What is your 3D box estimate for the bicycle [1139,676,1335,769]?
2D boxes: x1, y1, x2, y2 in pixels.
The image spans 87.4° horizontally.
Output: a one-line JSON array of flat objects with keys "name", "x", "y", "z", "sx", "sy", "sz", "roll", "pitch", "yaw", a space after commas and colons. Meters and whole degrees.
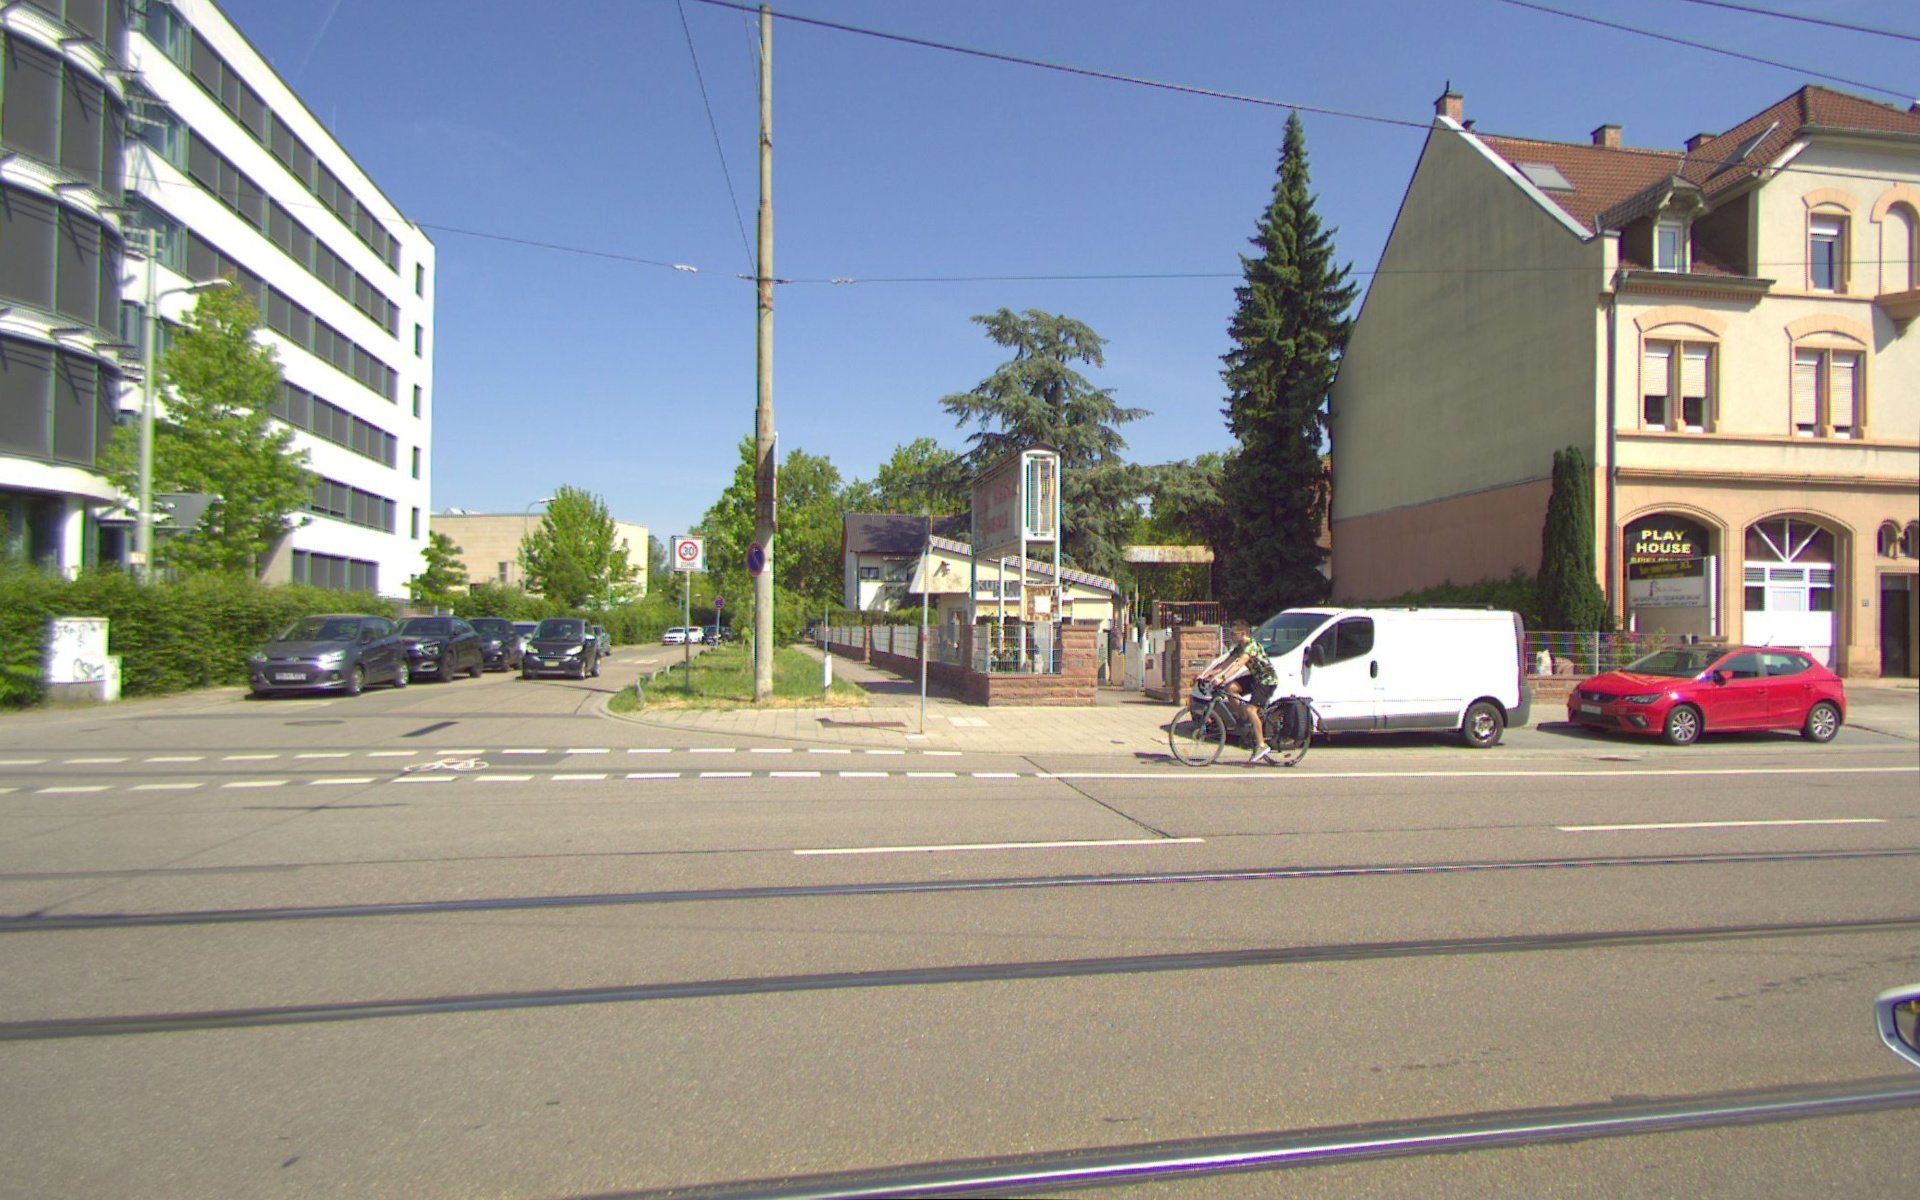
[{"name": "bicycle", "x": 3.208, "y": 1.415, "z": 11.717, "sx": 2.122, "sy": 0.997, "sz": 0.610, "roll": 1, "pitch": -1, "yaw": -3}]

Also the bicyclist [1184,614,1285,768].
[{"name": "bicyclist", "x": 3.201, "y": 1.045, "z": 11.780, "sx": 0.969, "sy": 1.747, "sz": 0.718, "roll": 0, "pitch": -2, "yaw": -4}]

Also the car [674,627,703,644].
[{"name": "car", "x": -24.968, "y": 3.253, "z": 92.431, "sx": 1.899, "sy": 1.468, "sz": 3.826, "roll": 1, "pitch": -2, "yaw": -5}]

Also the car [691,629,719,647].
[{"name": "car", "x": -21.683, "y": 3.240, "z": 85.534, "sx": 1.900, "sy": 1.468, "sz": 3.823, "roll": 1, "pitch": -2, "yaw": -9}]

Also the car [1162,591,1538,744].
[{"name": "car", "x": 5.673, "y": 0.954, "z": 14.903, "sx": 4.820, "sy": 2.040, "sz": 2.087, "roll": 1, "pitch": -1, "yaw": -10}]

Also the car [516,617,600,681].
[{"name": "car", "x": -10.301, "y": 1.217, "z": 25.903, "sx": 1.453, "sy": 1.559, "sz": 2.971, "roll": 1, "pitch": -1, "yaw": -11}]

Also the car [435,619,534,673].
[{"name": "car", "x": -13.762, "y": 1.319, "z": 29.286, "sx": 1.753, "sy": 1.463, "sz": 3.842, "roll": 1, "pitch": -2, "yaw": -13}]

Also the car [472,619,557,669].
[{"name": "car", "x": -14.722, "y": 1.410, "z": 33.413, "sx": 1.784, "sy": 1.525, "sz": 4.035, "roll": 0, "pitch": -1, "yaw": -12}]

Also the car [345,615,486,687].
[{"name": "car", "x": -12.610, "y": 1.148, "z": 23.549, "sx": 1.784, "sy": 1.539, "sz": 4.159, "roll": 1, "pitch": -2, "yaw": -13}]

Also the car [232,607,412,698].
[{"name": "car", "x": -11.916, "y": 0.956, "z": 19.047, "sx": 1.675, "sy": 1.547, "sz": 3.688, "roll": 1, "pitch": -2, "yaw": -13}]

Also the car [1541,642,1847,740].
[{"name": "car", "x": 11.579, "y": 1.397, "z": 15.942, "sx": 3.930, "sy": 1.425, "sz": 1.722, "roll": 1, "pitch": -2, "yaw": -11}]

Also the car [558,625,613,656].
[{"name": "car", "x": -17.036, "y": 1.823, "z": 45.857, "sx": 1.784, "sy": 1.340, "sz": 3.820, "roll": 1, "pitch": -2, "yaw": -13}]

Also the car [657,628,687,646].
[{"name": "car", "x": -24.487, "y": 3.160, "z": 85.448, "sx": 1.900, "sy": 1.468, "sz": 3.823, "roll": 1, "pitch": -2, "yaw": -9}]
